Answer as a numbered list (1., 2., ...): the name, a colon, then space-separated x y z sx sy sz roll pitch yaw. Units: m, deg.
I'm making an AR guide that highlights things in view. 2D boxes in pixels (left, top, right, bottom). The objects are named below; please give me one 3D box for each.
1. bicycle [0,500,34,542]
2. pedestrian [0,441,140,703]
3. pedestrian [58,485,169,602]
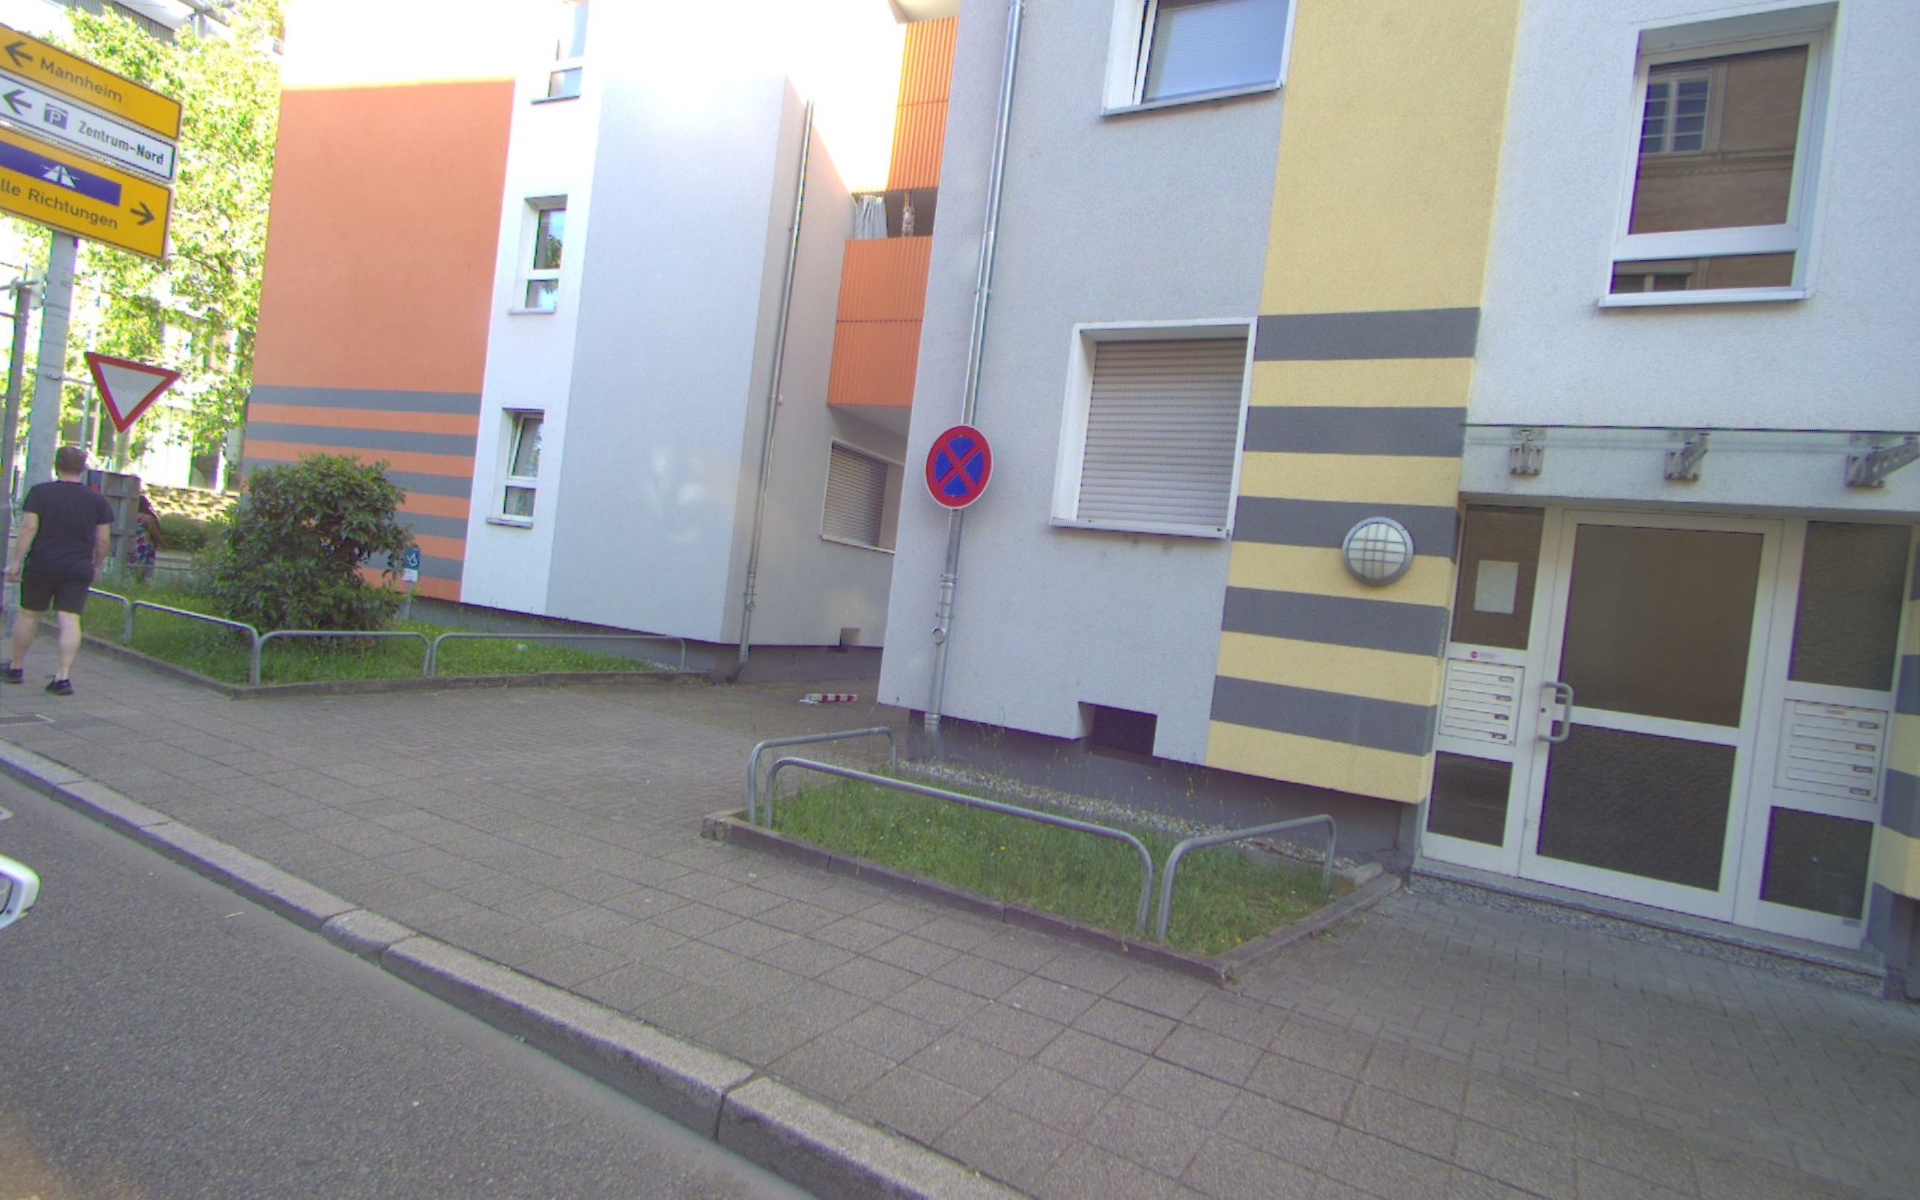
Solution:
1. bicycle: -26.407 -2.227 27.274 1.883 1.062 0.463 7 1 -10
2. pedestrian: -6.693 -0.224 7.491 0.901 1.813 0.643 7 4 35
3. pedestrian: -12.471 -0.831 14.843 0.940 1.595 0.749 5 3 -5
